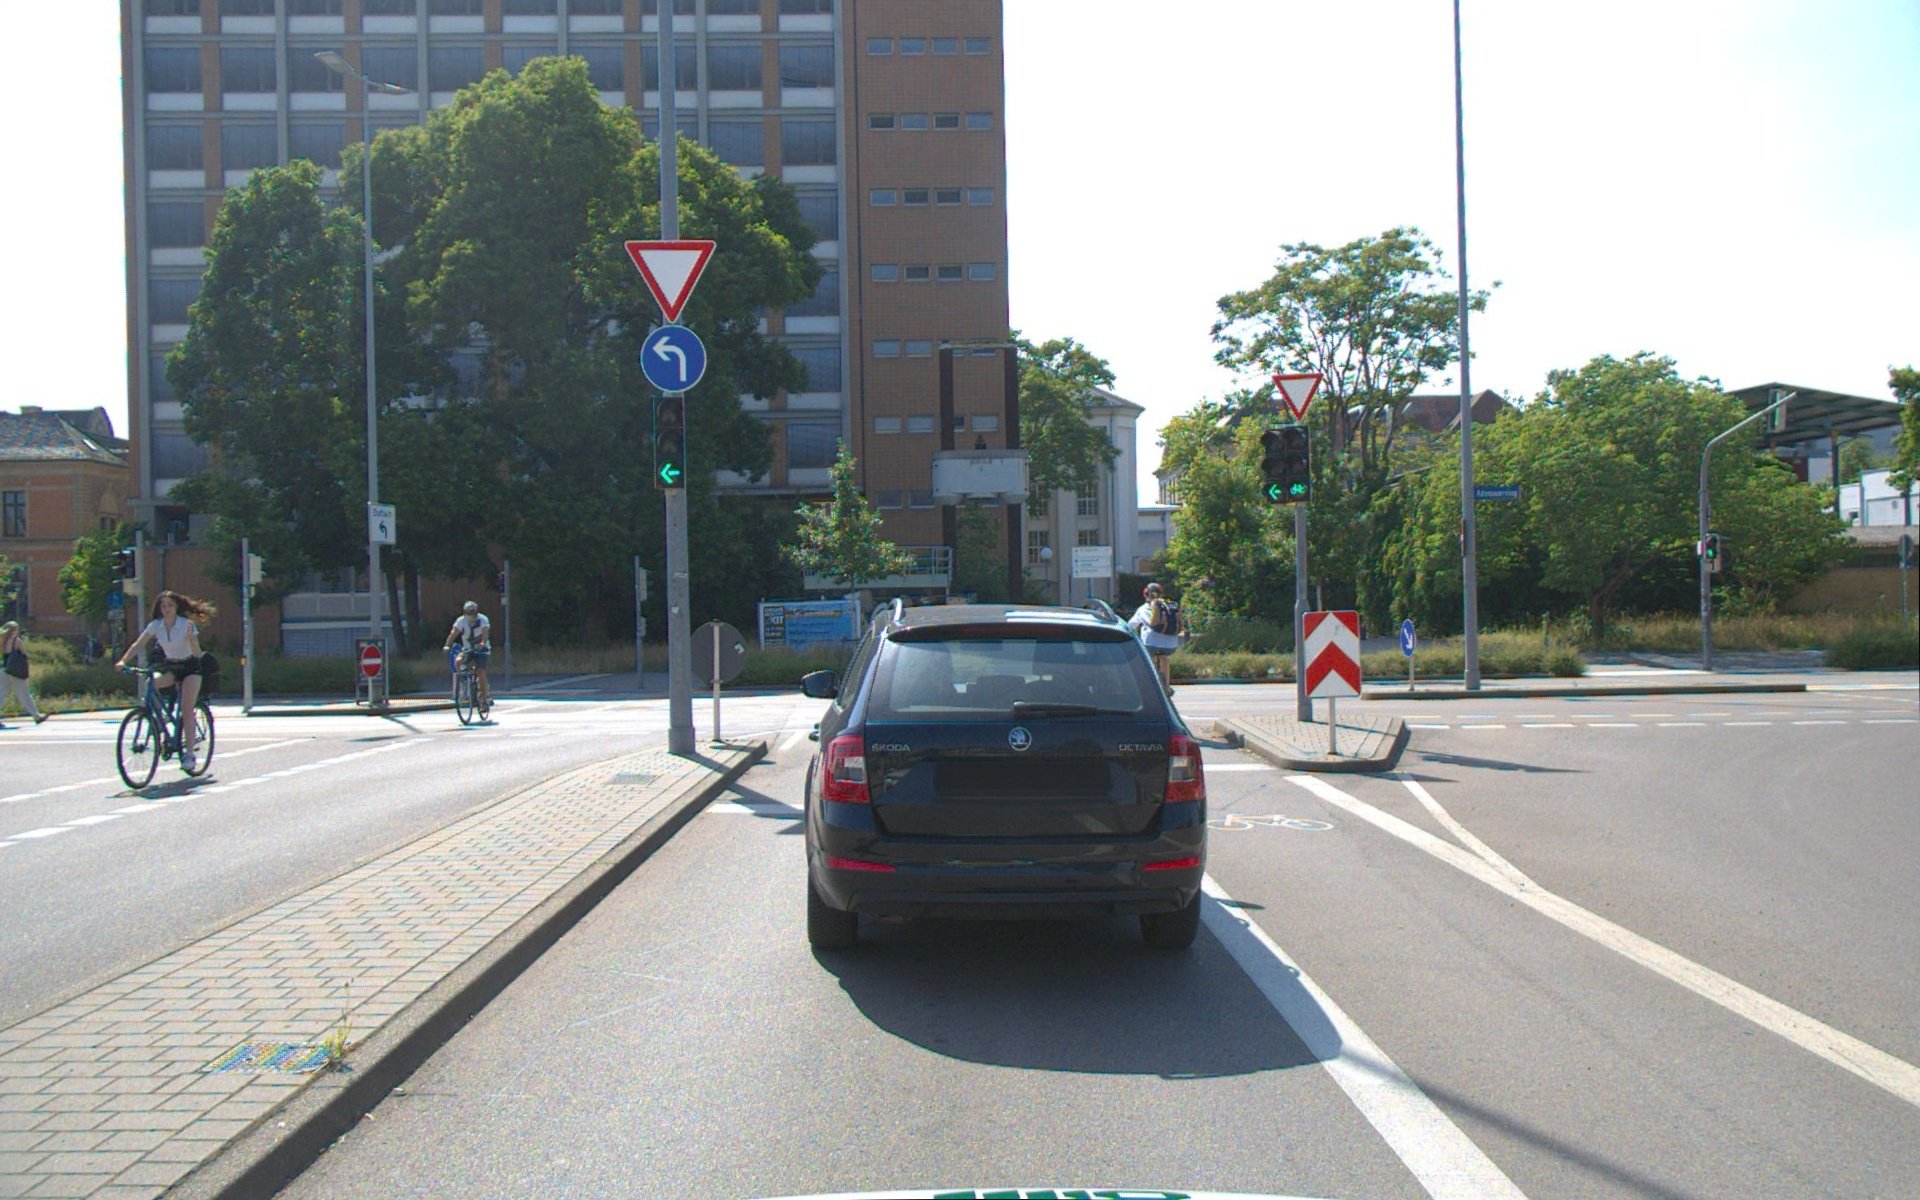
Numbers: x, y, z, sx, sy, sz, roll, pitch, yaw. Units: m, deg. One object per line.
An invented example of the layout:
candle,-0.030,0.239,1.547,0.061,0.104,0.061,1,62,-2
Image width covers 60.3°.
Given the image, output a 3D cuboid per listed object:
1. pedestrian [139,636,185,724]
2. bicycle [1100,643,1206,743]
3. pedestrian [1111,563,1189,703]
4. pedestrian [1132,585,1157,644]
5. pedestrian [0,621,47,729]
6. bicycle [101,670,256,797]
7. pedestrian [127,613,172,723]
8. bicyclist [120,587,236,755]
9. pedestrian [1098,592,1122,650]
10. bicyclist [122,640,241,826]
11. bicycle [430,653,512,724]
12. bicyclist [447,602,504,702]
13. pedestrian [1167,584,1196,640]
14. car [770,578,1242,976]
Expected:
pedestrian,-14.247,1.419,29.533,0.621,1.518,0.614,-2,0,-17
bicycle,2.102,0.995,18.272,0.585,0.947,2.023,0,1,-11
pedestrian,2.083,0.358,18.230,0.572,1.492,1.011,0,-1,-11
pedestrian,6.017,0.464,54.063,0.624,1.907,0.796,-3,0,-1
pedestrian,-16.141,1.284,28.218,0.724,1.783,1.105,-2,-2,-17
bicycle,-7.211,1.202,15.358,0.606,0.977,1.965,-4,0,-5
pedestrian,-15.249,1.271,31.115,0.610,2.049,0.678,2,-2,-38
bicyclist,-7.246,0.641,15.361,0.606,1.468,0.919,-4,0,-6
pedestrian,5.018,0.707,55.208,0.584,1.907,0.639,-2,0,22
bicyclist,-7.211,1.202,15.359,0.606,1.609,1.012,-4,0,-6
bicycle,-7.301,1.304,24.766,0.690,0.994,2.029,-2,-2,-3
bicyclist,-7.250,0.776,24.788,0.528,1.441,1.029,-2,-1,-3
pedestrian,7.762,0.416,57.945,0.778,1.907,0.638,-3,0,24
car,0.161,0.661,8.038,1.743,1.468,3.817,0,0,0
